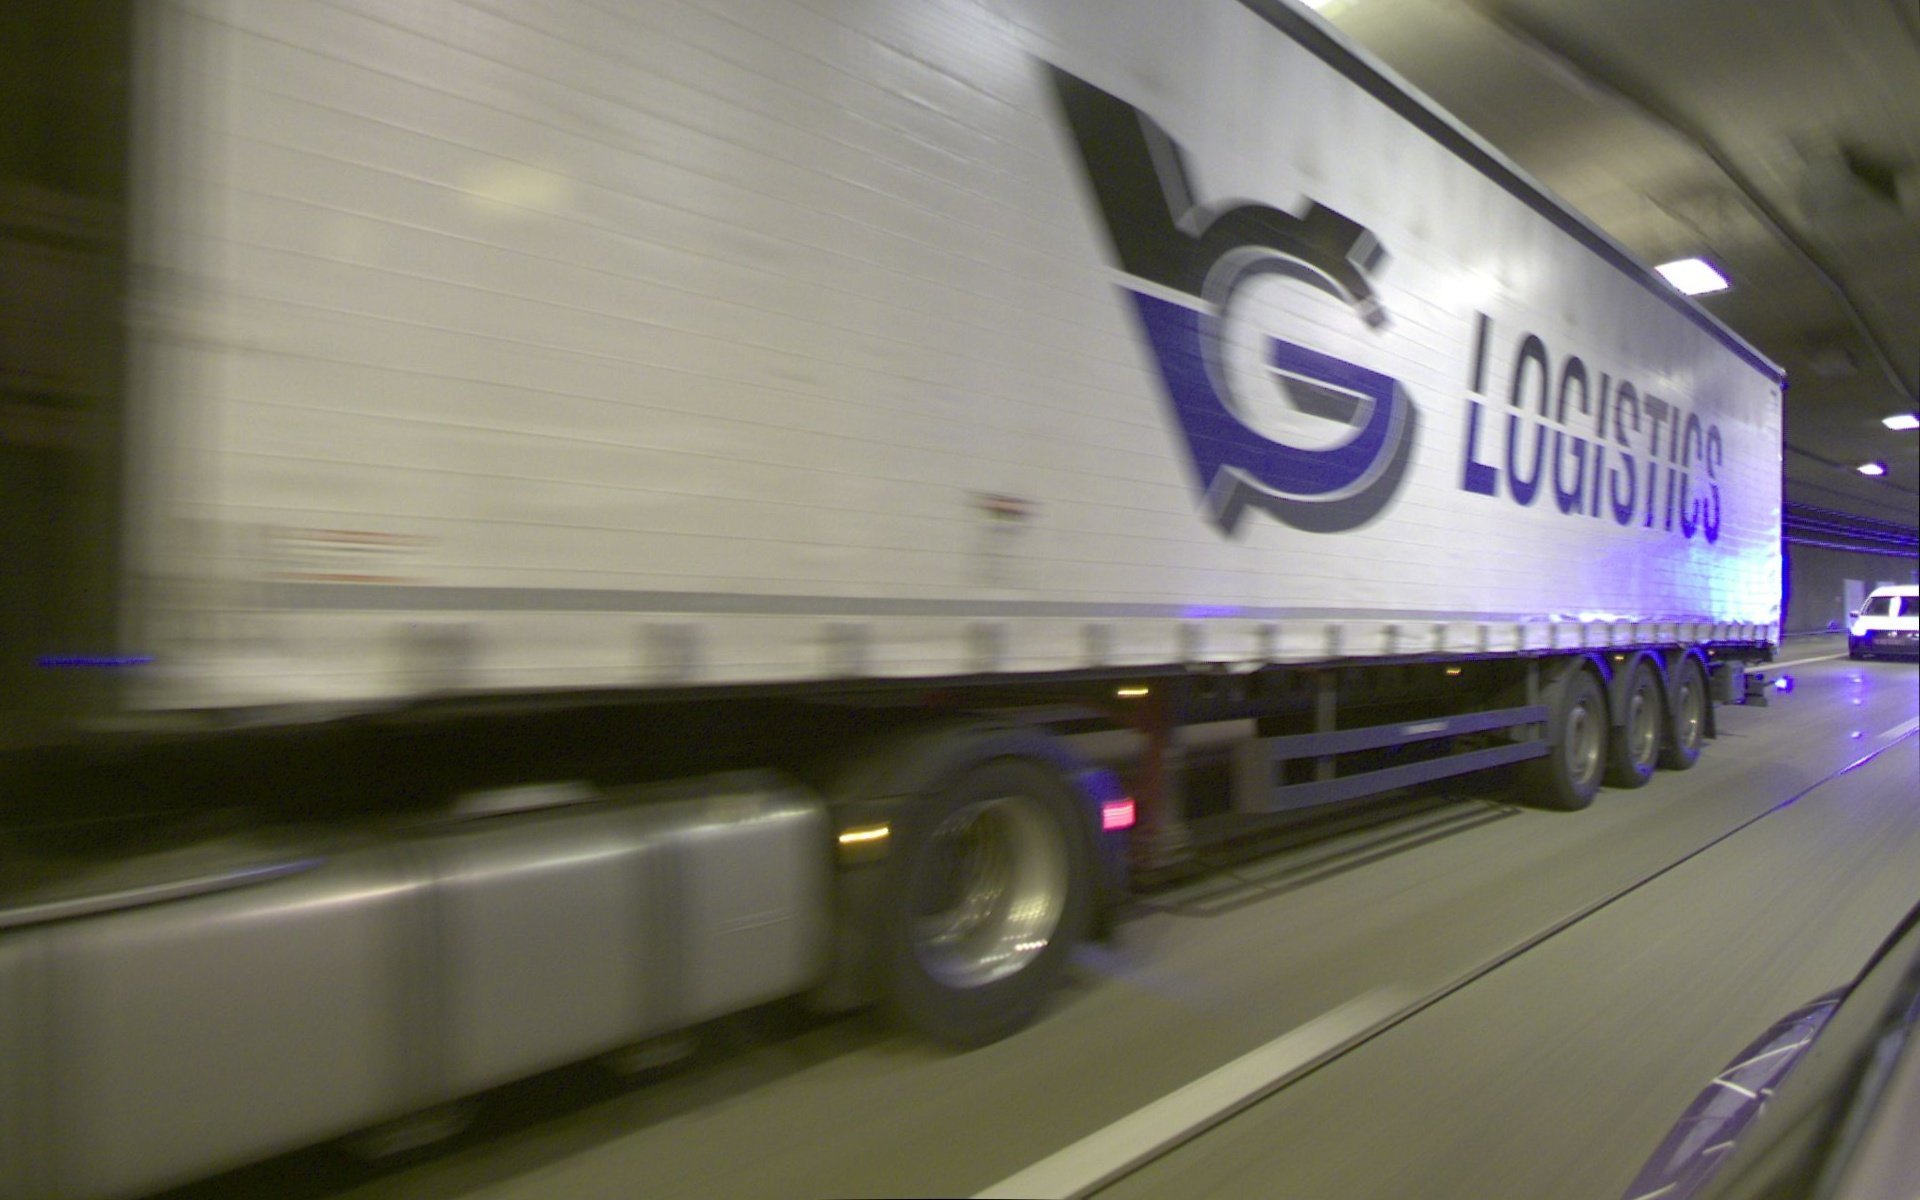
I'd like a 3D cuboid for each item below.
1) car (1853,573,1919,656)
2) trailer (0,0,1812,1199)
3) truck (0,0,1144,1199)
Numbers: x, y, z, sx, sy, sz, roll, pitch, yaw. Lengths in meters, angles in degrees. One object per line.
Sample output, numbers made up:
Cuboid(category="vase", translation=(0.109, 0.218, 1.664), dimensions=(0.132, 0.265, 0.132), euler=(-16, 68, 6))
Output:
Cuboid(category="car", translation=(23.398, 0.320, 24.588), dimensions=(4.210, 1.883, 1.839), euler=(0, 0, -38))
Cuboid(category="trailer", translation=(2.829, -0.732, 7.083), dimensions=(13.756, 4.216, 2.625), euler=(0, -1, -41))
Cuboid(category="truck", translation=(-2.461, -0.693, 2.516), dimensions=(5.900, 4.216, 2.651), euler=(0, 0, -41))
